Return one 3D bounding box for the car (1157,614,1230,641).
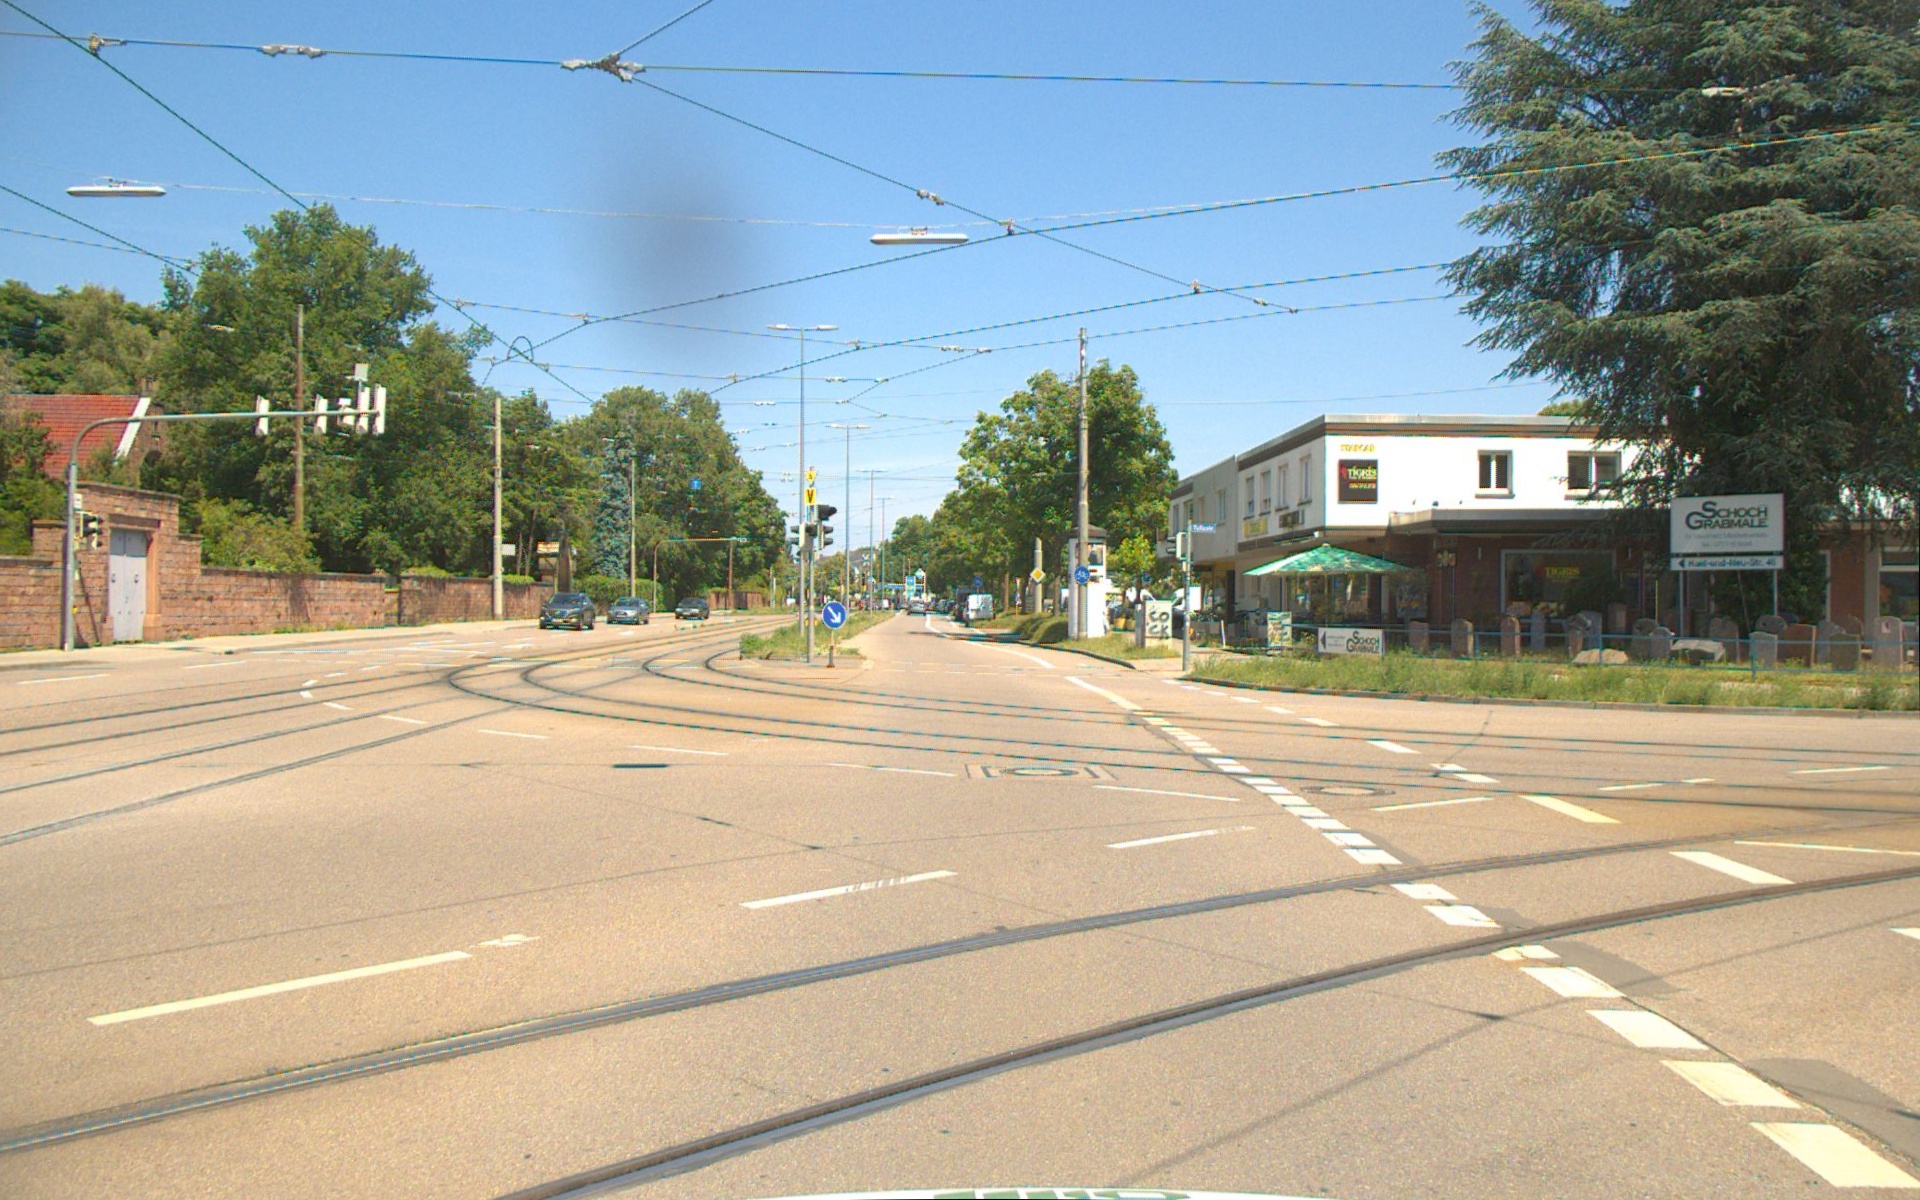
[{"bbox_3d":[12.395,1.439,87.890,3.539,1.374,1.488,1,0,-8],"label":"car"}]

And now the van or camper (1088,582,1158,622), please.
[{"bbox_3d":[11.506,0.151,116.981,4.661,2.718,2.134,1,0,-3],"label":"van or camper"}]

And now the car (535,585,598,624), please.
[{"bbox_3d":[-17.700,0.186,74.571,1.783,1.631,4.520,1,1,0],"label":"car"}]

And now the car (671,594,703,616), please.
[{"bbox_3d":[-18.409,0.323,111.672,1.608,1.424,4.114,2,0,-2],"label":"car"}]

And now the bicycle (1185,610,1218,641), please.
[{"bbox_3d":[8.465,0.871,58.000,1.012,1.032,2.639,1,0,6],"label":"bicycle"}]

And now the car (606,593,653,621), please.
[{"bbox_3d":[-17.874,0.355,89.625,1.607,1.446,4.168,1,0,1],"label":"car"}]

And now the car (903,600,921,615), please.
[{"bbox_3d":[-4.489,0.693,154.852,1.604,1.375,3.839,1,0,-4],"label":"car"}]

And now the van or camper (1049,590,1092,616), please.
[{"bbox_3d":[9.481,0.270,141.525,3.486,2.183,1.602,1,0,-3],"label":"van or camper"}]

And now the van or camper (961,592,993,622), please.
[{"bbox_3d":[1.031,0.434,103.515,1.883,1.803,3.999,1,0,-1],"label":"van or camper"}]

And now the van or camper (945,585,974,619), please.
[{"bbox_3d":[-0.079,0.122,125.800,1.954,2.507,3.997,1,0,-4],"label":"van or camper"}]

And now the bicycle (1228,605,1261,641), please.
[{"bbox_3d":[9.867,0.784,57.414,0.968,1.184,2.639,1,0,6],"label":"bicycle"}]

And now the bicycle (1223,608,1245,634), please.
[{"bbox_3d":[11.870,0.903,71.782,0.497,1.084,1.862,1,0,-4],"label":"bicycle"}]

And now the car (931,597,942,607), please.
[{"bbox_3d":[-3.395,0.305,238.692,1.493,1.319,3.490,1,0,-4],"label":"car"}]
